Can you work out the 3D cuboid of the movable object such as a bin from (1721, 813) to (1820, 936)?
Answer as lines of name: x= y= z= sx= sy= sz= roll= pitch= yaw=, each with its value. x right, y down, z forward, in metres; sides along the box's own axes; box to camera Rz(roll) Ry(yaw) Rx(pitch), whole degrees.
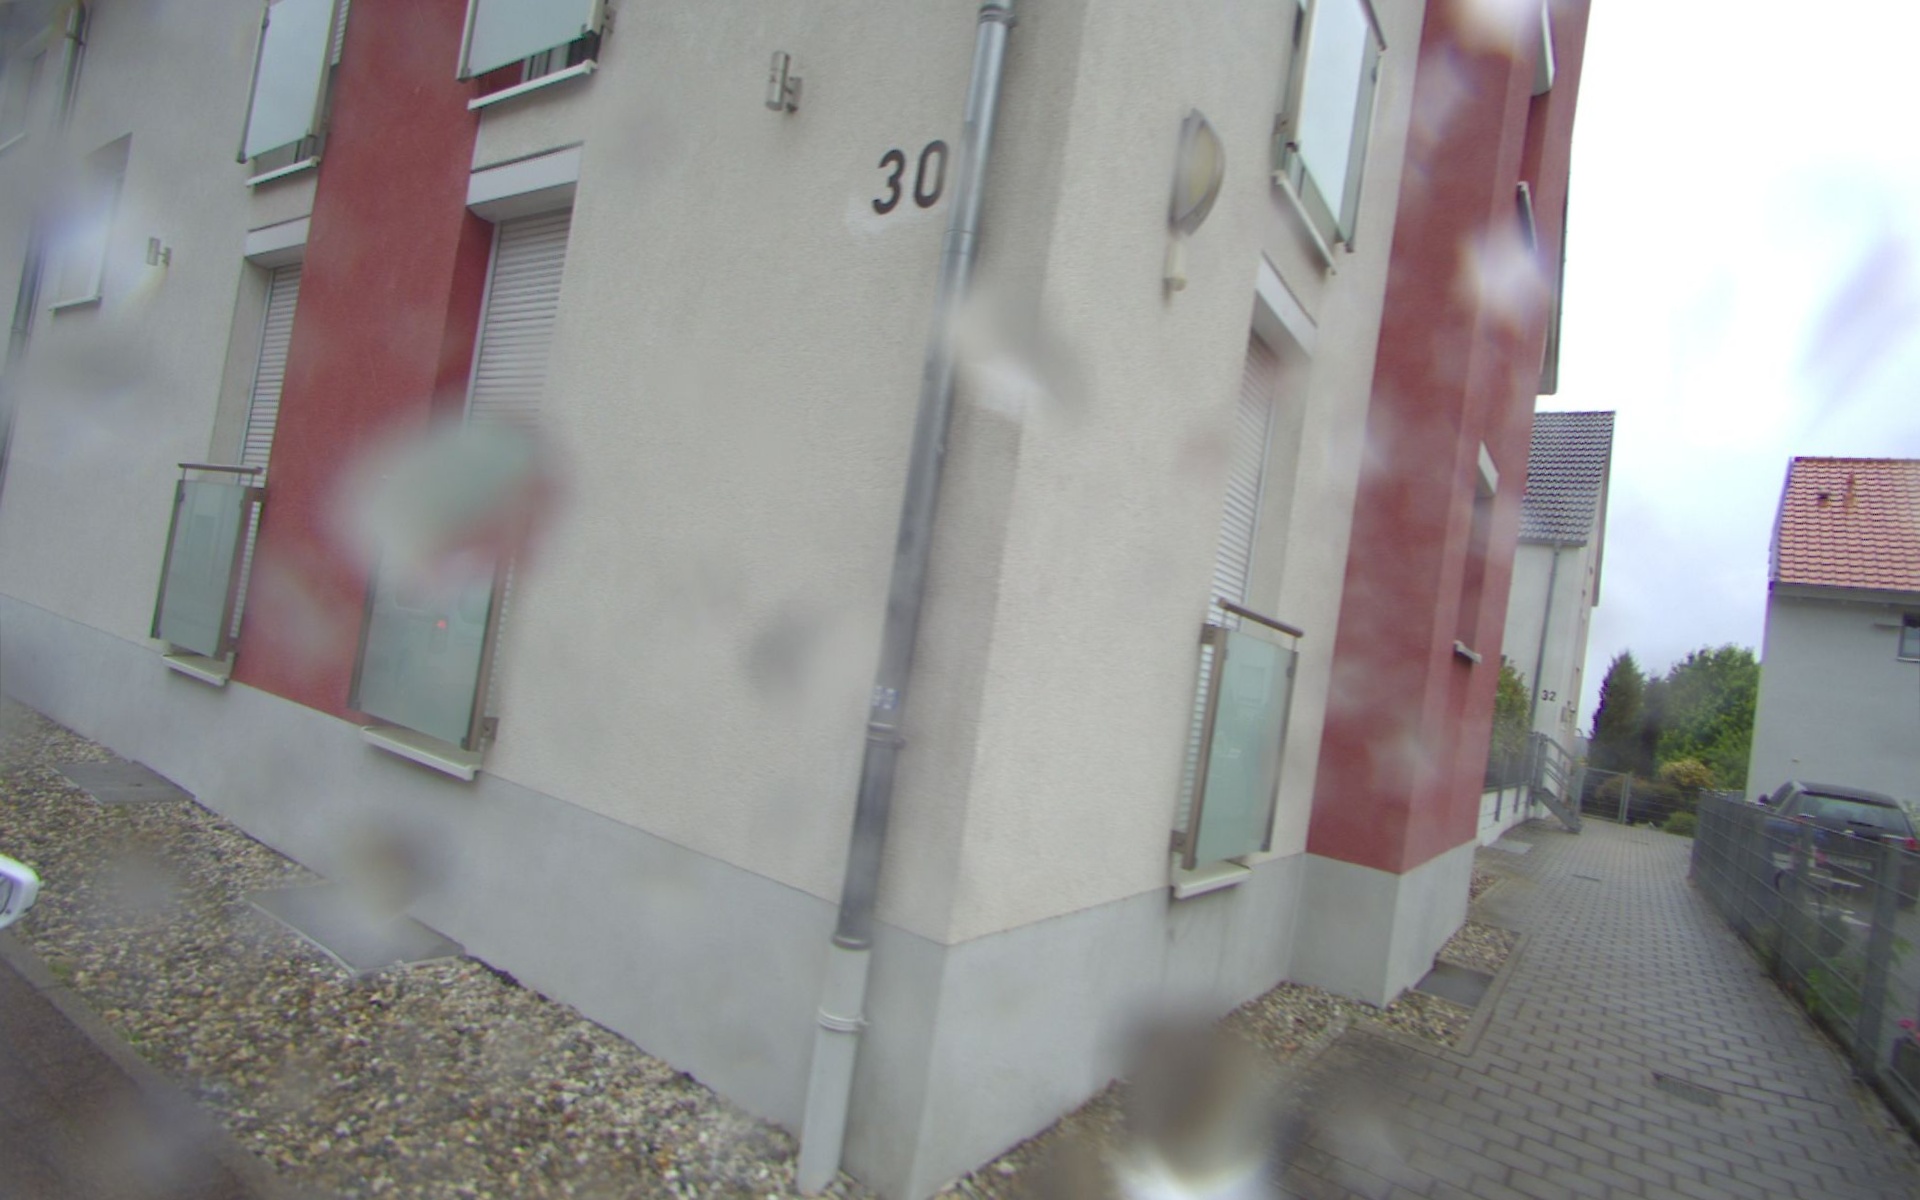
movable object such as a bin: x=8.778 y=2.955 z=10.923 sx=0.676 sy=1.108 sz=0.536 roll=7 pitch=-2 yaw=33

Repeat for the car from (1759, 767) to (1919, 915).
car: x=13.583 y=3.588 z=15.557 sx=1.659 sy=1.491 sz=3.986 roll=7 pitch=0 yaw=37

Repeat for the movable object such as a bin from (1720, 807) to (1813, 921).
movable object such as a bin: x=9.323 y=3.032 z=11.648 sx=0.676 sy=1.108 sz=0.536 roll=7 pitch=-2 yaw=33
